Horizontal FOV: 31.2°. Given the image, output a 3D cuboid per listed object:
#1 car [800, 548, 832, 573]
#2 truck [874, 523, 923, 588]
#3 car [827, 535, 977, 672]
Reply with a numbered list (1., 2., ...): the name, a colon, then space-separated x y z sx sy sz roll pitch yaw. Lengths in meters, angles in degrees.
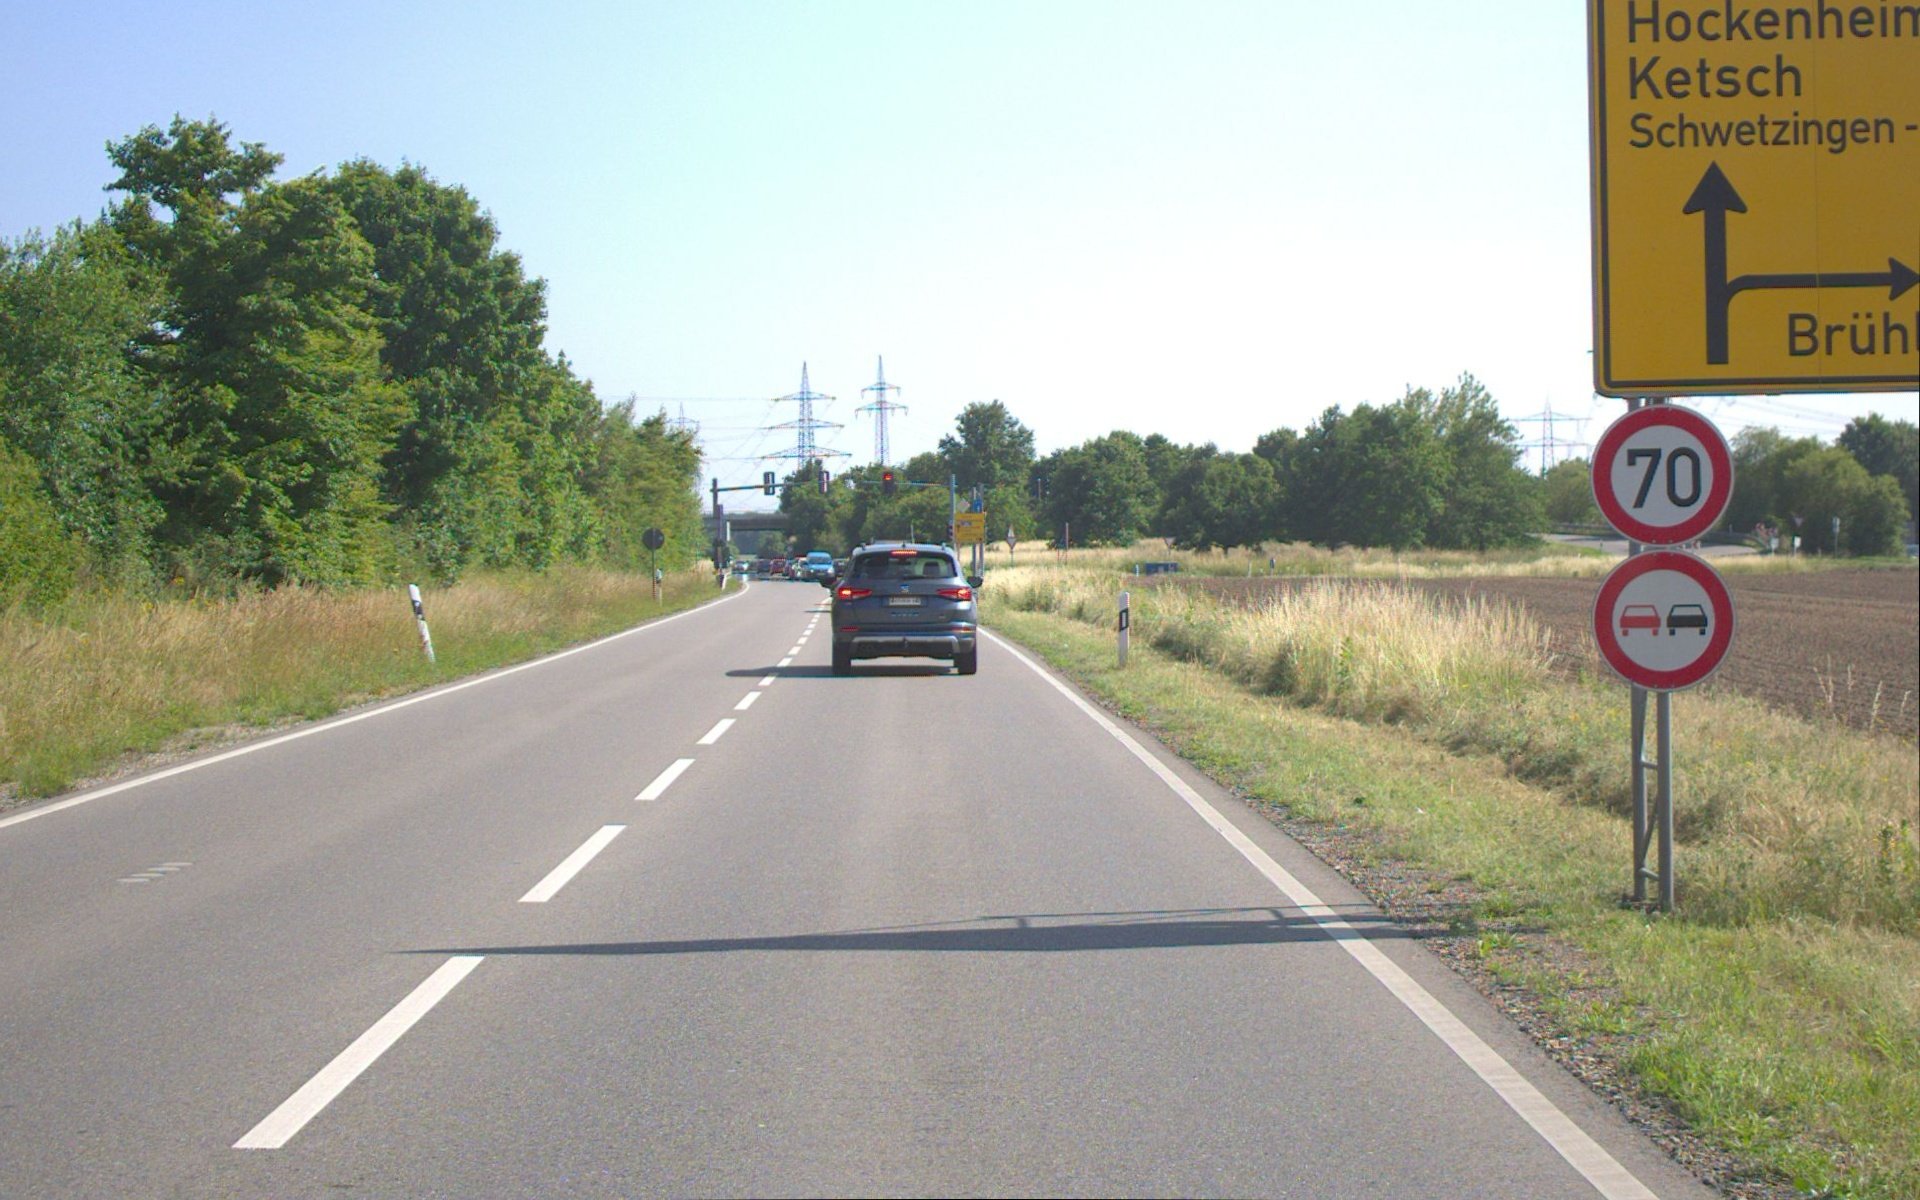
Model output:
1. car: -9.144 -2.512 217.504 1.816 1.535 4.001 -1 1 -5
2. truck: -2.957 -2.119 165.645 2.337 3.055 5.810 0 0 -1
3. car: -0.756 0.003 43.146 1.785 1.623 4.000 0 1 -2
